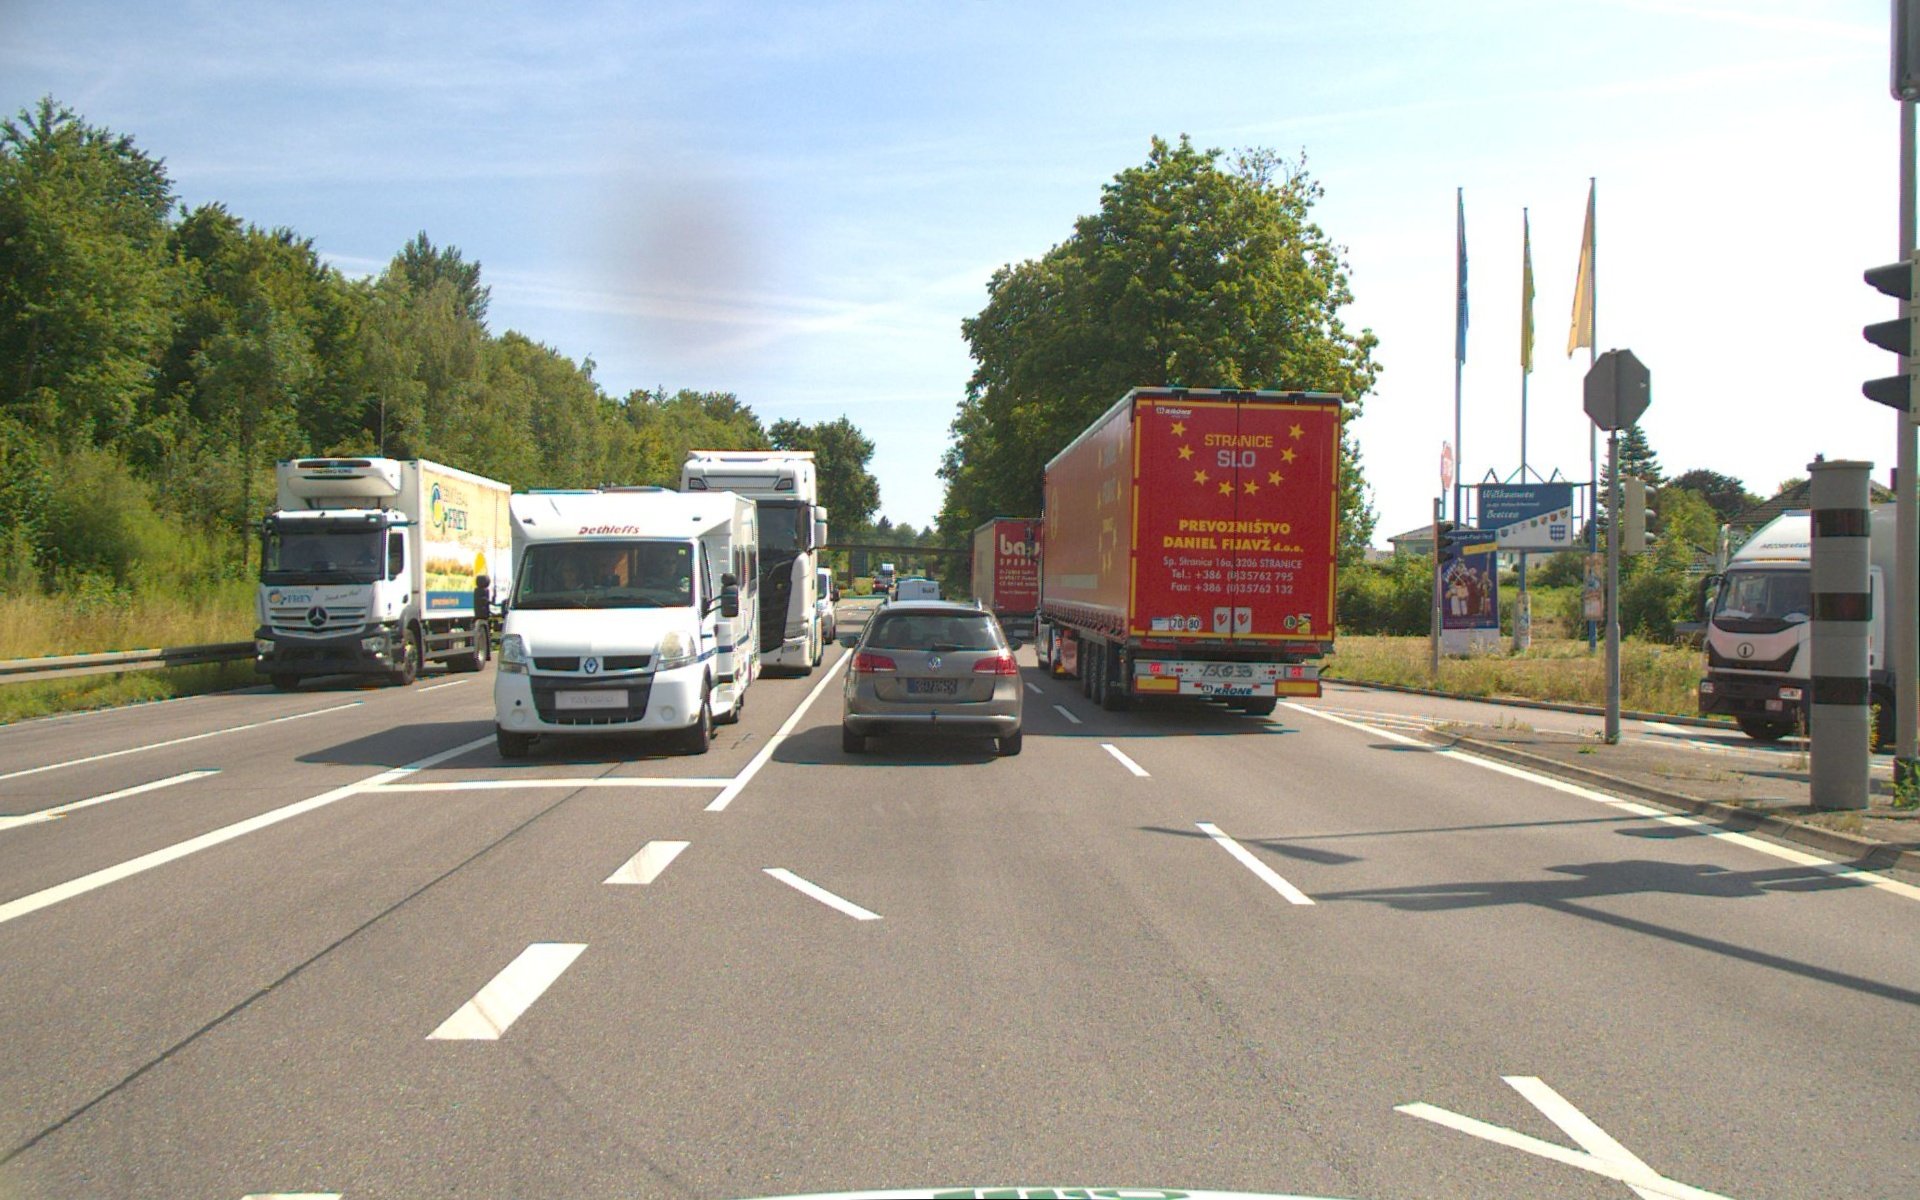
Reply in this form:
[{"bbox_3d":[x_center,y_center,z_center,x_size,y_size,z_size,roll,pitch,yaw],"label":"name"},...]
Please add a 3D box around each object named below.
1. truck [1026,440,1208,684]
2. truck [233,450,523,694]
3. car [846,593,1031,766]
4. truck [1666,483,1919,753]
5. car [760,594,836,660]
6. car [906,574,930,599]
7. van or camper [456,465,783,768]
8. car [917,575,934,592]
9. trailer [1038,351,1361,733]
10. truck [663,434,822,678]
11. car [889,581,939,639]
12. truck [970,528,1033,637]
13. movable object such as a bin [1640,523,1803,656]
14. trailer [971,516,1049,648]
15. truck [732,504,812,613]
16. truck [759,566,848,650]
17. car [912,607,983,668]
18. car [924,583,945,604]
[{"bbox_3d":[2.967,-0.674,32.874,2.812,4.356,5.836,1,0,-2],"label":"truck"},{"bbox_3d":[-11.057,-0.472,32.632,2.674,4.069,9.615,-1,0,-3],"label":"truck"},{"bbox_3d":[-0.280,0.723,16.960,1.657,1.539,3.998,-1,0,-3],"label":"car"},{"bbox_3d":[16.054,0.584,26.116,9.524,3.691,2.752,5,-2,-19],"label":"truck"},{"bbox_3d":[-4.090,0.653,42.347,1.676,1.578,4.107,-1,0,-2],"label":"car"},{"bbox_3d":[-3.657,-1.161,143.941,1.953,2.049,3.998,-1,0,-3],"label":"car"},{"bbox_3d":[-3.378,0.145,18.113,2.283,2.646,6.976,-1,0,-2],"label":"van or camper"},{"bbox_3d":[-4.269,-1.994,202.015,1.953,2.049,3.998,-1,0,-3],"label":"car"},{"bbox_3d":[3.144,-0.670,26.105,2.782,4.442,13.163,1,0,-2],"label":"trailer"},{"bbox_3d":[-3.993,-0.749,31.514,2.486,4.159,6.261,-1,0,-3],"label":"truck"},{"bbox_3d":[-1.687,0.347,59.508,1.735,1.970,3.975,-1,0,-3],"label":"car"},{"bbox_3d":[1.629,-0.672,67.308,2.357,4.200,5.520,-1,0,0],"label":"truck"},{"bbox_3d":[20.426,-0.263,44.159,2.842,3.264,6.682,-1,0,35],"label":"movable object such as a bin"},{"bbox_3d":[1.686,-0.599,61.019,2.346,4.317,13.076,-1,0,0],"label":"trailer"},{"bbox_3d":[-6.514,-1.364,58.002,2.296,3.582,6.693,-1,0,-2],"label":"truck"},{"bbox_3d":[-4.570,0.232,49.251,2.182,2.307,6.497,-1,0,-2],"label":"truck"},{"bbox_3d":[-0.383,0.971,44.317,1.735,1.539,3.998,-1,0,-3],"label":"car"},{"bbox_3d":[-2.533,-0.641,165.508,1.953,2.049,3.998,-1,0,-3],"label":"car"}]
